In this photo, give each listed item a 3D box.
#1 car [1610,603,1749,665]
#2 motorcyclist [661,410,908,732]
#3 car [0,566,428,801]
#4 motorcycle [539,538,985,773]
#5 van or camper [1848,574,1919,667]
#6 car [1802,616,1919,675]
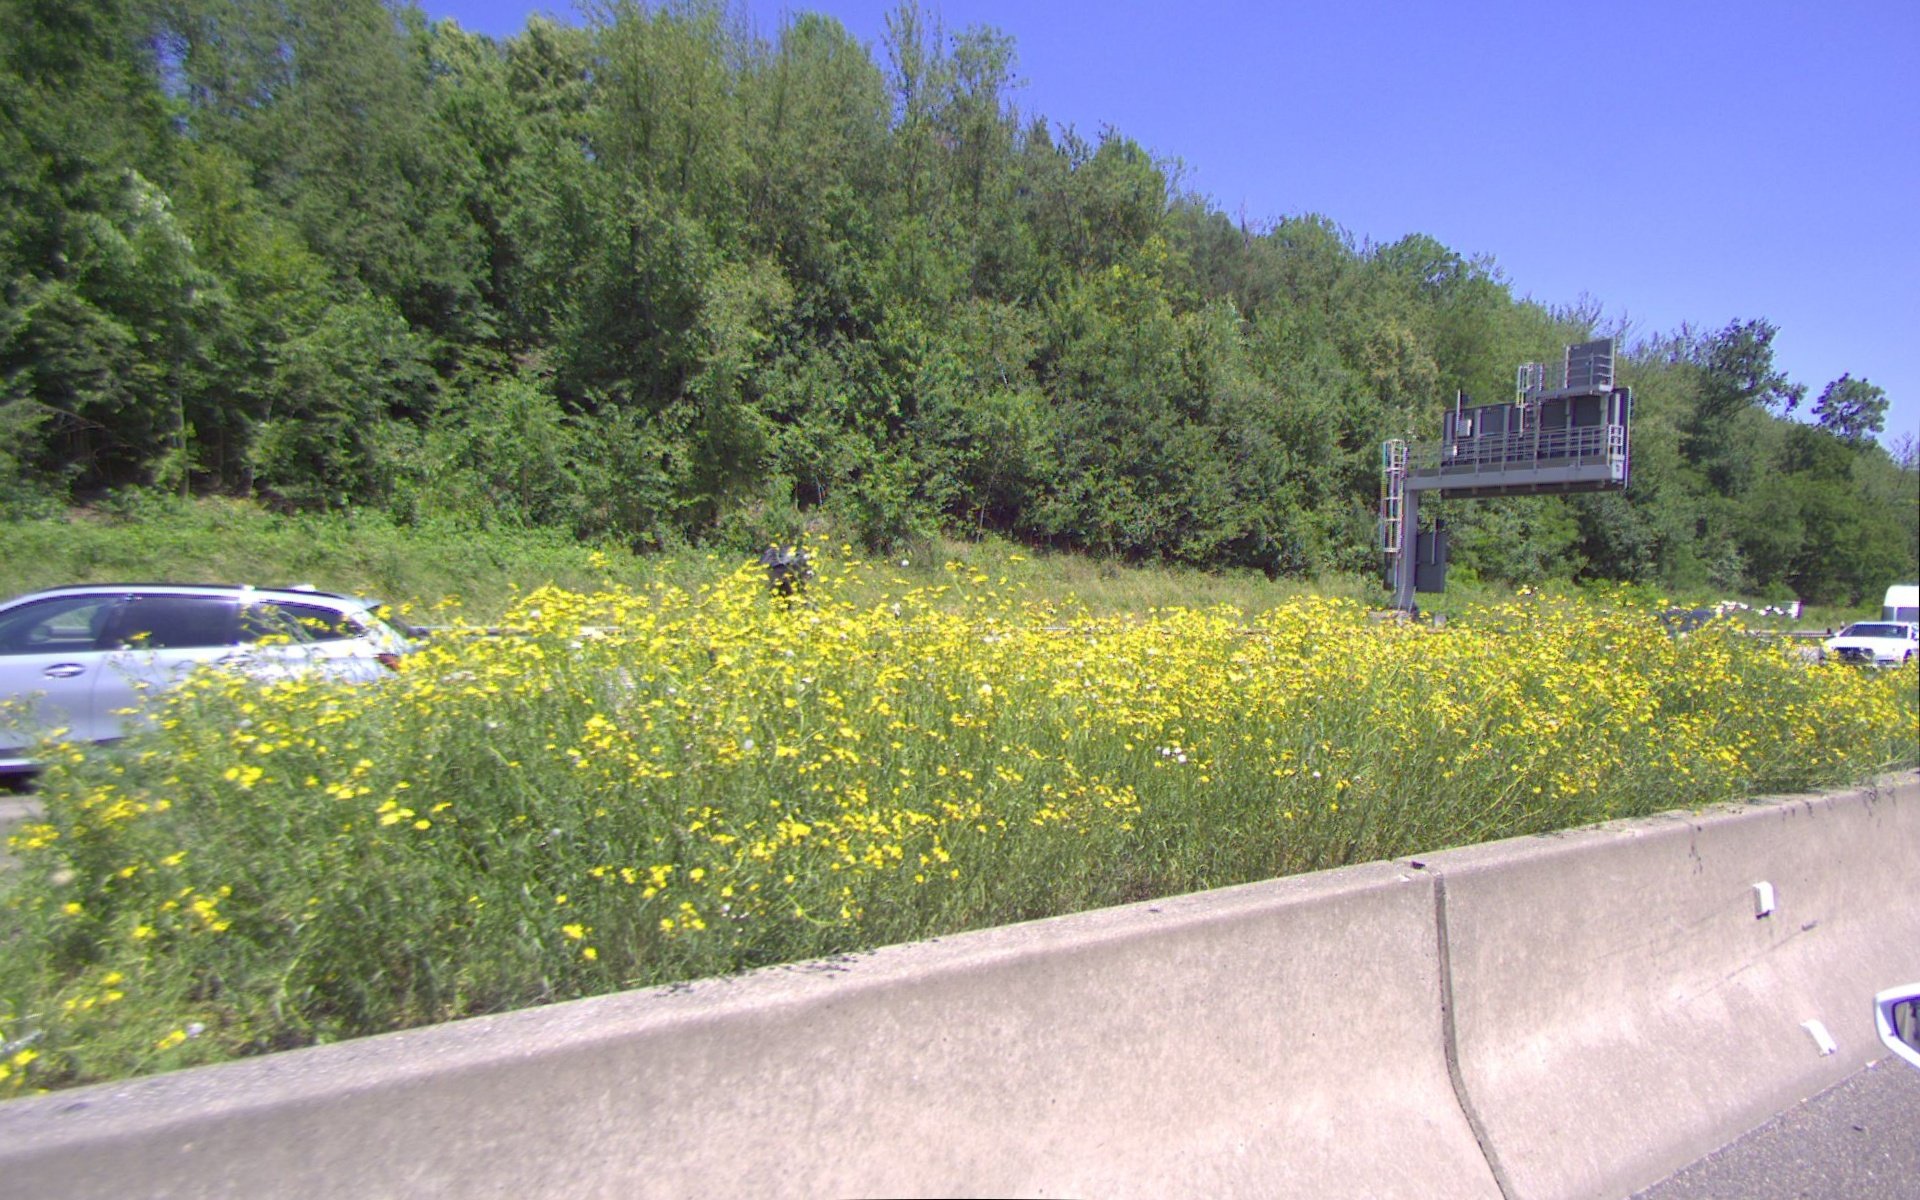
[{"bbox_3d":[21.389,0.991,29.820,4.371,1.718,1.747,1,0,-31],"label":"car"},{"bbox_3d":[-1.137,-0.154,6.423,1.269,1.809,1.026,1,0,-30],"label":"motorcyclist"},{"bbox_3d":[-6.462,0.543,7.536,4.306,1.542,1.830,1,0,-30],"label":"car"},{"bbox_3d":[-1.215,0.309,6.386,2.583,1.231,1.035,1,0,-31],"label":"motorcycle"},{"bbox_3d":[30.296,0.649,31.033,7.317,2.671,2.296,1,0,-32],"label":"van or camper"},{"bbox_3d":[25.305,1.219,27.711,4.556,1.458,1.747,1,0,-31],"label":"car"}]
